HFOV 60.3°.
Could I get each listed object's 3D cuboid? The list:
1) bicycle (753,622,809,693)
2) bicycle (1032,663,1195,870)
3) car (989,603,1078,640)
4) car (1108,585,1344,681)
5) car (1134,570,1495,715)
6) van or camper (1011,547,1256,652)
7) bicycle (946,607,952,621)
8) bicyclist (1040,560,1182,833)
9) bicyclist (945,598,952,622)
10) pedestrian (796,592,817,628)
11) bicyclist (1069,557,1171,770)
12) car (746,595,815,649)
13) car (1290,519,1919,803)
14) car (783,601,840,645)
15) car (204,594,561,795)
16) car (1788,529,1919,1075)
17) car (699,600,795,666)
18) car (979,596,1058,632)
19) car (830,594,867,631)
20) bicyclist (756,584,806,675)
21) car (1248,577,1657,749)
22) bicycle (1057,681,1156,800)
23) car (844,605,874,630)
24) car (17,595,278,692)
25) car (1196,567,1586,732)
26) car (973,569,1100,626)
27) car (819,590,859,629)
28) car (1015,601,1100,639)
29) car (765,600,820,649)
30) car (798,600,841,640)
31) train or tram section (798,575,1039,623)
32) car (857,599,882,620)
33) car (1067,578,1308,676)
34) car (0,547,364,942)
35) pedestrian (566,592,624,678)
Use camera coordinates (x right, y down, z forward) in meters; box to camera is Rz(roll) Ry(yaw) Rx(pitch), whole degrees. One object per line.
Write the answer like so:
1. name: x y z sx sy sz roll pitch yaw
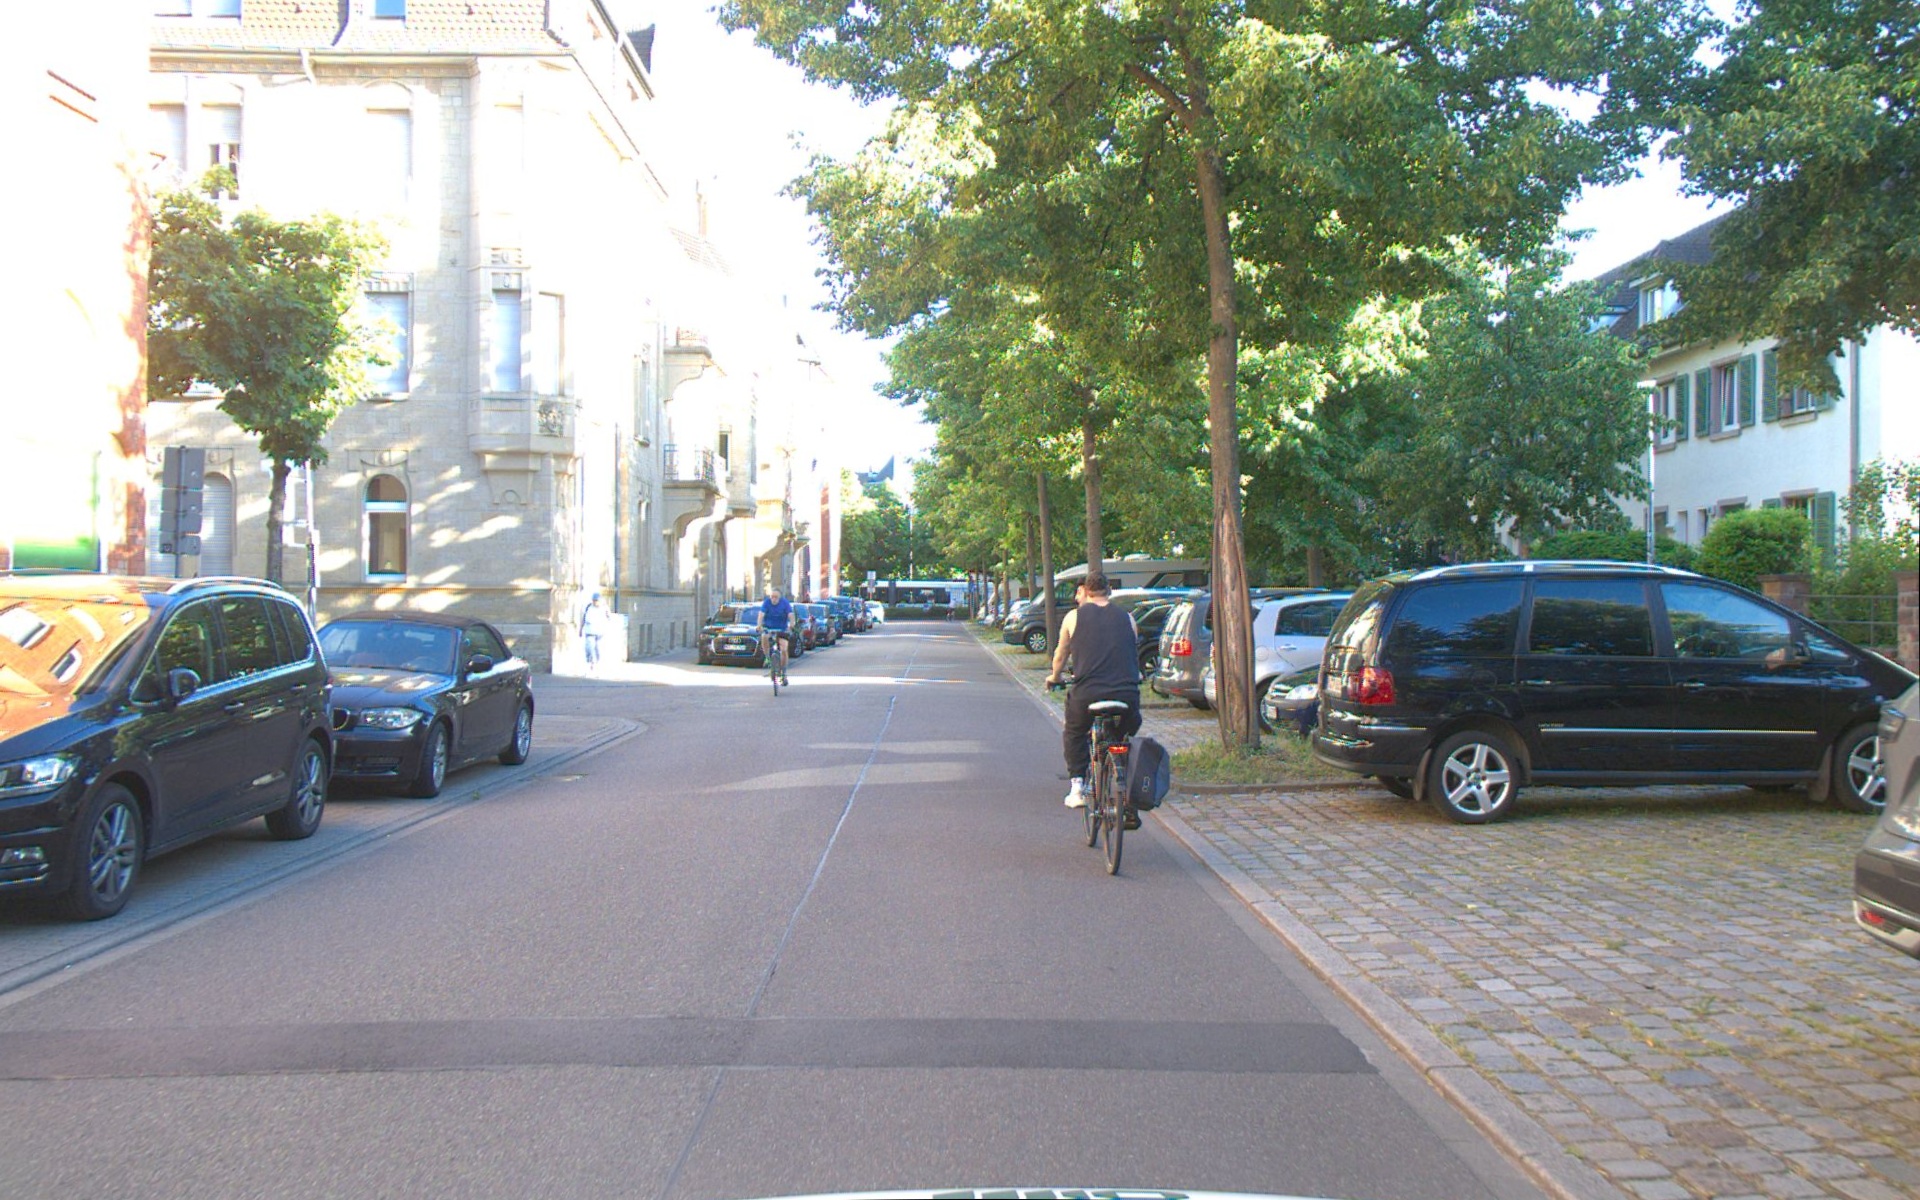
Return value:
1. bicycle: -2.986 0.942 27.722 0.742 1.127 1.907 -1 -1 -1
2. bicycle: 0.892 0.954 10.099 0.722 1.072 1.955 2 -1 -2
3. car: 3.354 1.016 76.115 4.053 1.628 1.702 0 -2 1
4. car: 4.815 0.579 30.271 3.985 1.502 1.694 -3 1 0
5. car: 4.800 0.552 22.727 4.453 1.662 1.809 -3 0 -7
6. van or camper: 5.095 -0.016 49.539 7.000 2.693 2.465 -3 0 1
7. bicycle: -0.829 1.034 124.560 0.488 1.023 1.473 1 -2 -1
8. bicyclist: 0.907 0.572 10.122 0.715 1.575 0.884 2 -1 -2
9. bicyclist: -0.841 0.744 124.503 0.476 1.775 0.655 1 -1 -1
10. pedestrian: -7.714 0.500 82.974 0.919 1.773 0.735 1 -1 0
11. bicyclist: 1.290 0.498 13.519 0.675 1.655 0.998 2 0 -1
12. car: -5.086 0.634 47.174 1.662 1.479 4.025 0 -1 -2
13. car: 4.875 0.396 12.129 4.487 1.706 1.907 -3 0 1
14. car: -5.347 0.807 60.003 1.641 1.455 4.550 2 0 0
15. car: -4.860 0.728 14.593 1.602 1.435 4.332 3 -1 -1
16. car: 5.085 0.500 4.798 4.386 1.662 1.874 -3 0 -2
17. car: -5.214 0.780 40.966 1.774 1.451 4.896 3 -1 -1
18. car: 3.070 0.728 87.144 4.001 1.678 1.640 -3 -1 -3
19. car: -5.974 0.633 89.105 1.654 1.857 4.272 2 0 0
20. bicyclist: -2.989 0.489 27.655 0.744 1.479 0.948 -1 -1 -1
21. car: 4.949 0.615 16.929 3.647 1.479 1.588 -3 0 -1
22. bicycle: 1.177 1.125 13.599 0.620 0.813 1.832 0 0 -1
23. car: -6.097 1.044 100.239 1.551 1.367 4.131 2 0 0
24. car: -14.230 0.743 29.129 3.720 1.577 1.718 0 3 -3
25. car: 5.040 0.568 19.773 4.184 1.662 1.691 -3 0 2
26. car: 4.329 -0.117 94.477 7.005 3.030 2.462 -2 0 -4
27. car: -5.988 0.446 82.327 1.607 1.814 4.354 2 0 0
28. car: 4.307 0.900 73.666 3.695 1.628 1.691 0 -2 1
29. car: -5.440 0.771 54.127 1.596 1.479 3.835 1 0 -3
30. car: -5.869 0.814 69.135 1.564 1.514 2.735 4 0 -2
31. train or tram section: -3.838 -0.026 160.135 23.484 3.773 4.255 2 -1 -24
32. car: -6.449 0.682 118.027 1.551 1.399 4.131 2 0 0
33. car: 4.457 0.528 32.899 4.524 1.739 1.833 -2 0 0
34. car: -4.892 0.630 9.306 1.636 1.710 4.347 1 -1 -3
35. pedestrian: -7.055 0.666 32.035 0.870 1.604 1.053 -1 0 -1
